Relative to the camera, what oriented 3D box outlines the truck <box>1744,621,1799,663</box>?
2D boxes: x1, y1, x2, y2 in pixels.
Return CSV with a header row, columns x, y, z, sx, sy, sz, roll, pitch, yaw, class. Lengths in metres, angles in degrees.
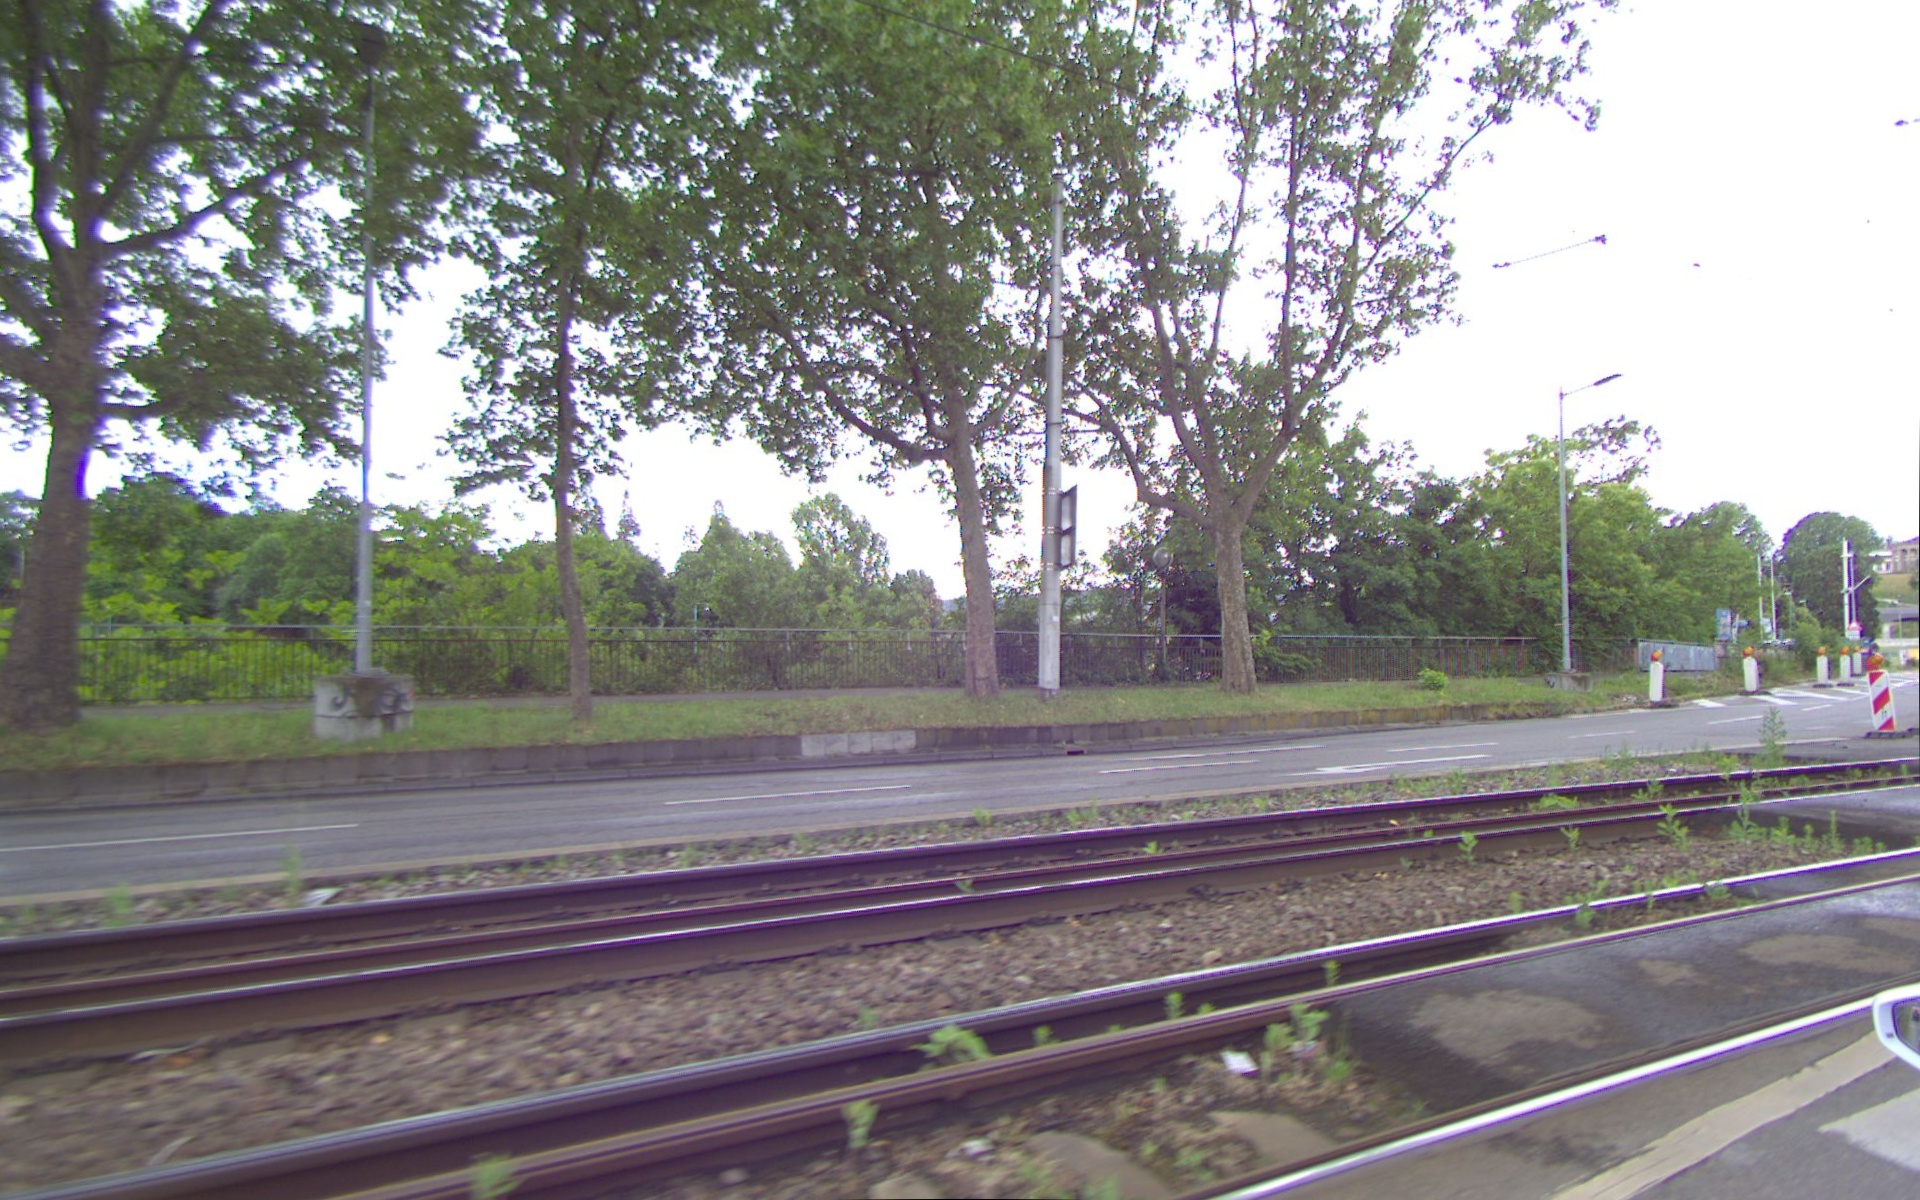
x,y,z,sx,sy,sz,roll,pitch,yaw,class
69.927,3.624,86.681,2.755,3.379,8.454,-4,-4,34,truck
